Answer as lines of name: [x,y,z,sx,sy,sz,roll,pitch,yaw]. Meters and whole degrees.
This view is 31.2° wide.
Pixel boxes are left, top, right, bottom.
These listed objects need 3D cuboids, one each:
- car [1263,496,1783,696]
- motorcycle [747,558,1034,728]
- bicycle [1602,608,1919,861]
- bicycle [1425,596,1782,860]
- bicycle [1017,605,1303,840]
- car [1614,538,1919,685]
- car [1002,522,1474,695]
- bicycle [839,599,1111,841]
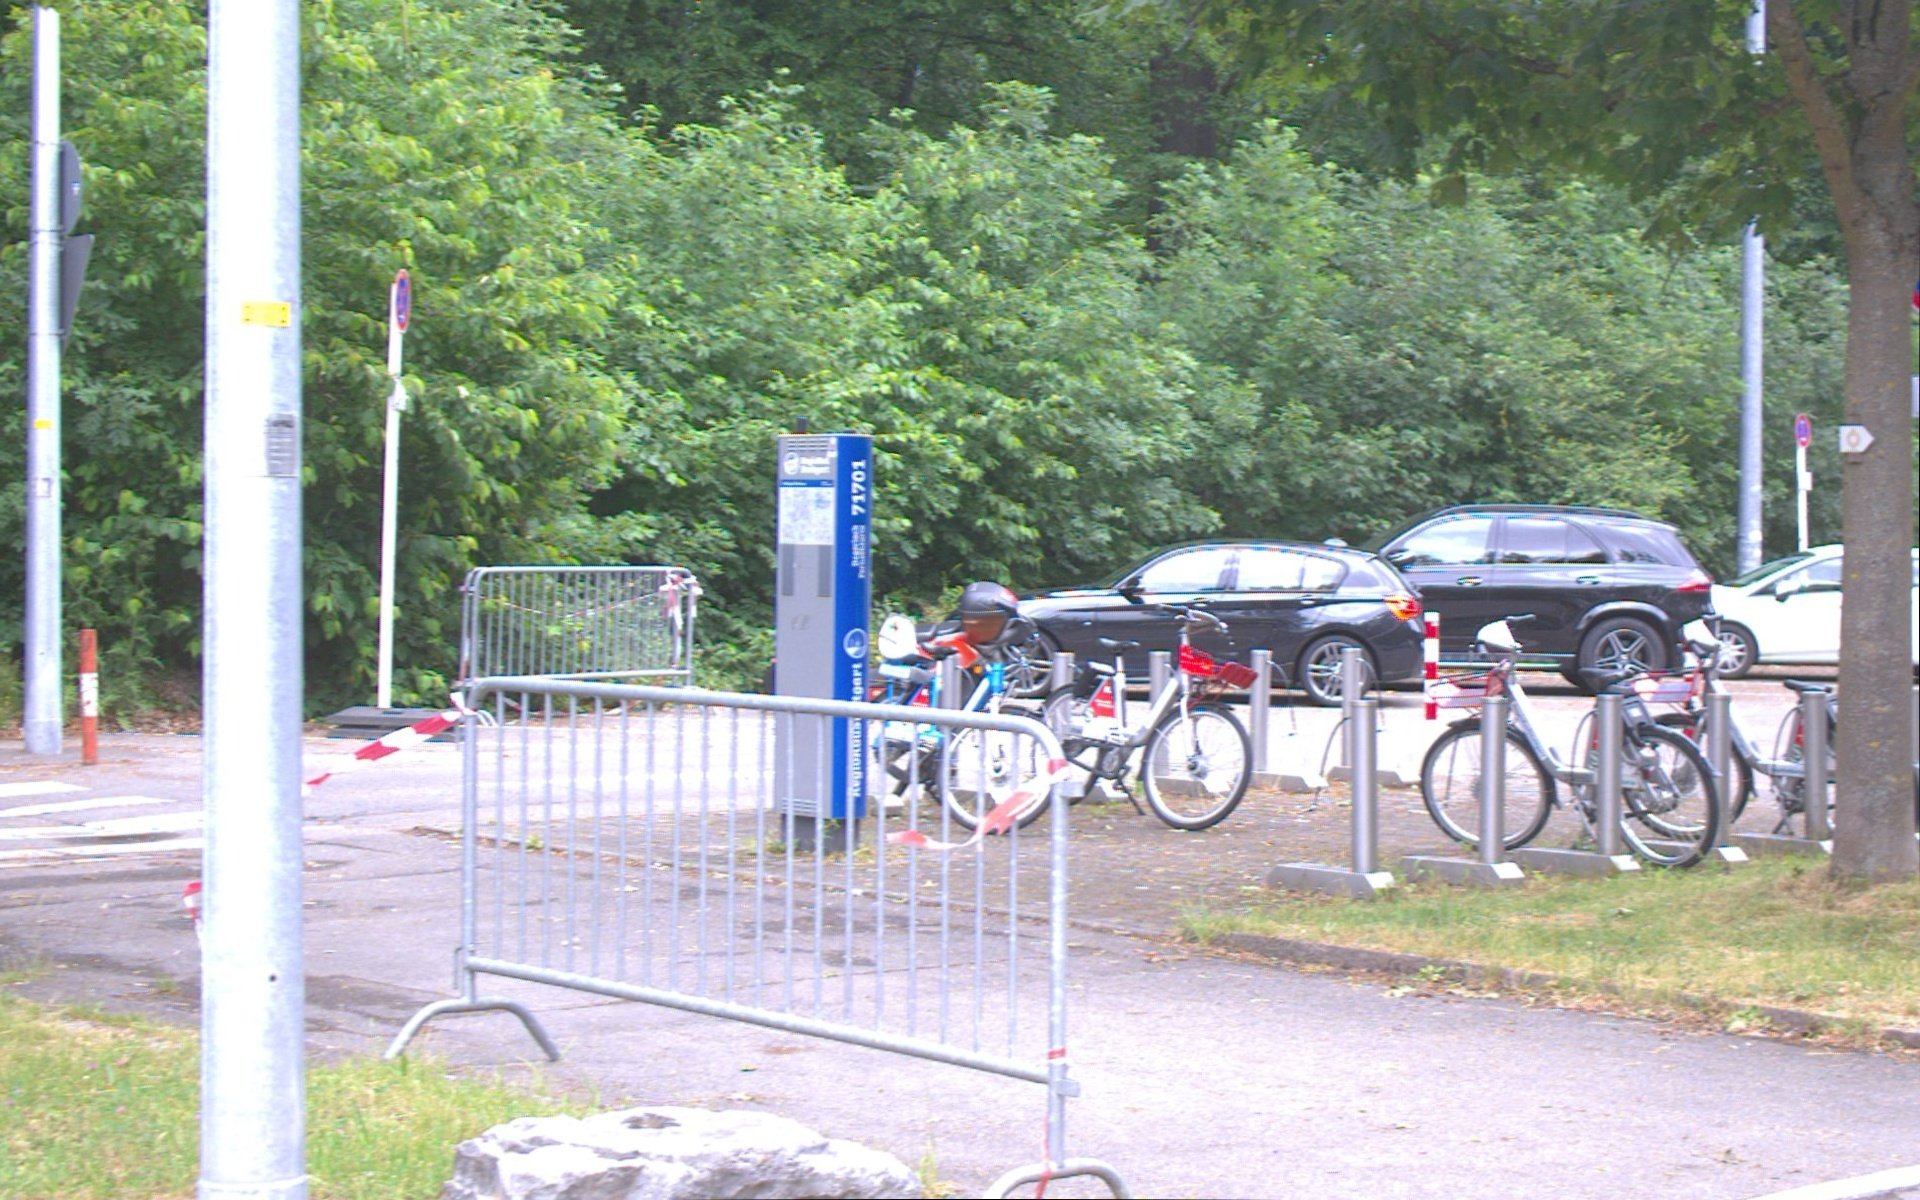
car: [5.290,-0.065,32.864,4.694,1.761,2.112,1,1,4]
motorcycle: [-0.524,0.309,26.078,2.024,1.203,0.730,2,1,14]
bicycle: [3.971,0.622,16.652,0.481,1.108,1.788,1,1,-38]
bicycle: [2.938,0.561,15.838,0.481,1.108,1.685,1,1,-38]
bicycle: [1.015,0.611,17.837,0.504,1.108,1.685,1,1,-36]
car: [9.266,0.116,37.442,3.987,1.505,1.869,1,1,4]
car: [2.428,0.056,30.240,3.987,1.371,1.740,2,1,4]
bicycle: [0.053,0.579,17.343,0.481,1.108,1.697,1,1,-33]
